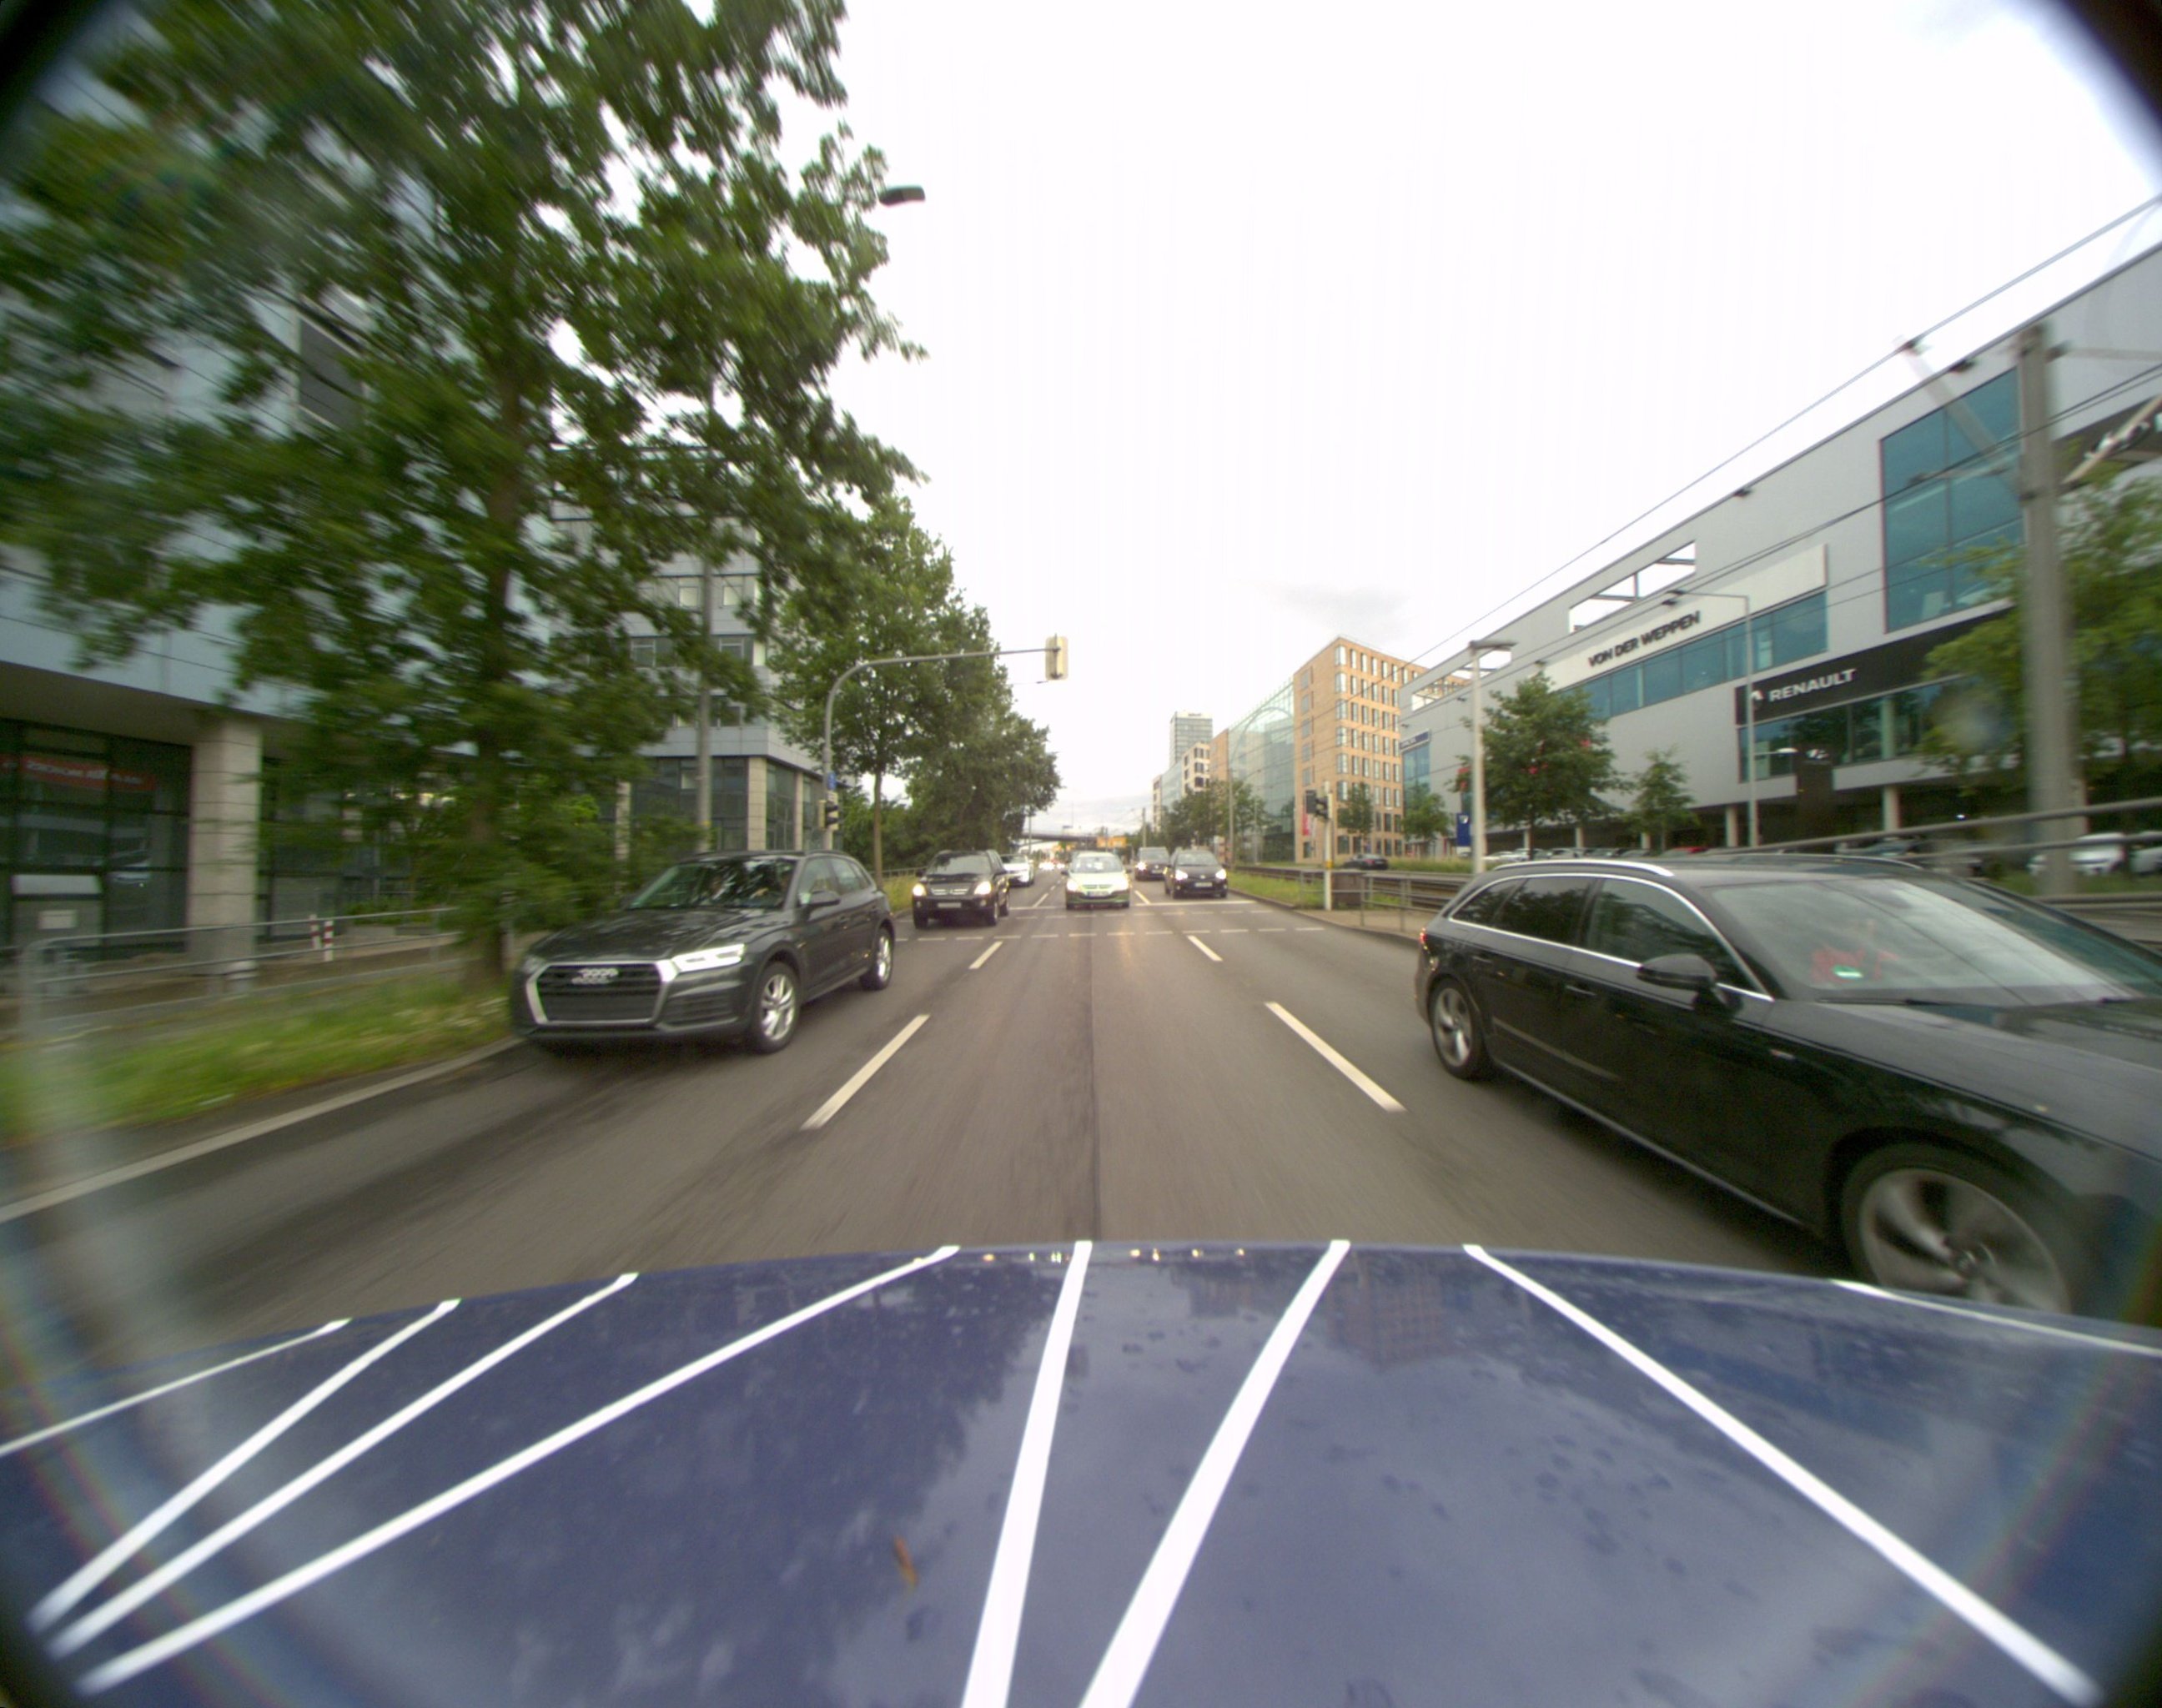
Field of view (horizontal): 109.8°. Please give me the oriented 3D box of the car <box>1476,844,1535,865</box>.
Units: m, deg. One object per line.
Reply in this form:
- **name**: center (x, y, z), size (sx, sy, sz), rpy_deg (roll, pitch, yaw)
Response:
- **car**: center (31.948, 0.046, 57.222), size (3.846, 1.482, 1.820), rpy_deg (-1, 0, -22)

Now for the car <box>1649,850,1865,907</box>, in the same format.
- **car**: center (19.344, 0.632, 22.130), size (1.998, 1.381, 4.873), rpy_deg (-2, 1, 1)

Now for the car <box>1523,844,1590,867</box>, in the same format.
- **car**: center (32.454, 0.095, 51.907), size (3.845, 1.482, 1.821), rpy_deg (-1, 0, -17)

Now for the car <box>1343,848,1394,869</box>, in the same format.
- **car**: center (21.561, 0.283, 57.229), size (1.998, 1.428, 4.873), rpy_deg (-2, 1, 1)

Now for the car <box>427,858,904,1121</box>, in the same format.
- **car**: center (-3.220, 0.901, 7.117), size (1.815, 1.660, 4.371), rpy_deg (-1, 0, 4)

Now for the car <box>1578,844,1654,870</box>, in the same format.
- **car**: center (32.653, 0.199, 46.428), size (3.845, 1.482, 1.821), rpy_deg (-1, 0, -17)

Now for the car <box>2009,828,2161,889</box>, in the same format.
- **car**: center (32.677, 0.117, 24.276), size (3.999, 1.652, 1.921), rpy_deg (-3, 0, -6)

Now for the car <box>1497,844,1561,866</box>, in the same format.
- **car**: center (32.254, 0.064, 54.709), size (3.845, 1.482, 1.821), rpy_deg (-1, 0, -17)

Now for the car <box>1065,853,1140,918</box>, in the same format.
- **car**: center (0.552, 0.765, 20.667), size (1.803, 1.533, 4.374), rpy_deg (-1, 0, 1)

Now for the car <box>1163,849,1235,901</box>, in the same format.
- **car**: center (3.735, 0.623, 24.705), size (1.798, 1.493, 4.000), rpy_deg (-1, 0, 1)

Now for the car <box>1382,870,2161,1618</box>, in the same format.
- **car**: center (3.158, 0.857, 3.332), size (1.794, 1.426, 4.828), rpy_deg (-1, 0, 1)

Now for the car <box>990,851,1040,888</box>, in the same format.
- **car**: center (-2.993, 0.675, 35.135), size (1.873, 1.533, 4.107), rpy_deg (-1, 0, 1)

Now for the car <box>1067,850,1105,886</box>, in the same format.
- **car**: center (0.250, 0.593, 34.721), size (1.598, 1.533, 3.707), rpy_deg (-1, 0, 1)

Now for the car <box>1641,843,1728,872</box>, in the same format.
- **car**: center (32.599, 0.185, 41.086), size (3.845, 1.482, 1.821), rpy_deg (-1, 0, -17)

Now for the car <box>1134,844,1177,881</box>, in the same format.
- **car**: center (3.627, 0.393, 37.611), size (1.781, 1.670, 4.131), rpy_deg (-1, 0, 1)

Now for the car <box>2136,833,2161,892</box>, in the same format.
- **car**: center (32.863, 0.146, 21.410), size (3.999, 1.652, 1.921), rpy_deg (-3, 0, -6)

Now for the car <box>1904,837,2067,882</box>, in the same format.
- **car**: center (32.331, 0.192, 27.212), size (3.999, 1.482, 1.823), rpy_deg (-1, 0, -6)

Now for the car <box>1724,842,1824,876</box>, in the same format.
- **car**: center (32.854, 0.245, 36.030), size (3.845, 1.482, 1.821), rpy_deg (-1, 0, -17)

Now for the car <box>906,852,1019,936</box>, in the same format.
- **car**: center (-2.596, 0.805, 17.683), size (1.816, 1.660, 4.549), rpy_deg (-1, 0, 1)

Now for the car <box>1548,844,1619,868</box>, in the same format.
- **car**: center (32.562, 0.117, 49.268), size (3.845, 1.482, 1.821), rpy_deg (-1, 0, -17)

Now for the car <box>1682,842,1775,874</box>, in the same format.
- **car**: center (32.878, 0.209, 38.624), size (3.845, 1.482, 1.821), rpy_deg (-1, 0, -17)

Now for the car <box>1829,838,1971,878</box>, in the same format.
- **car**: center (32.808, 0.144, 30.494), size (3.999, 1.482, 1.823), rpy_deg (-1, 0, -6)
